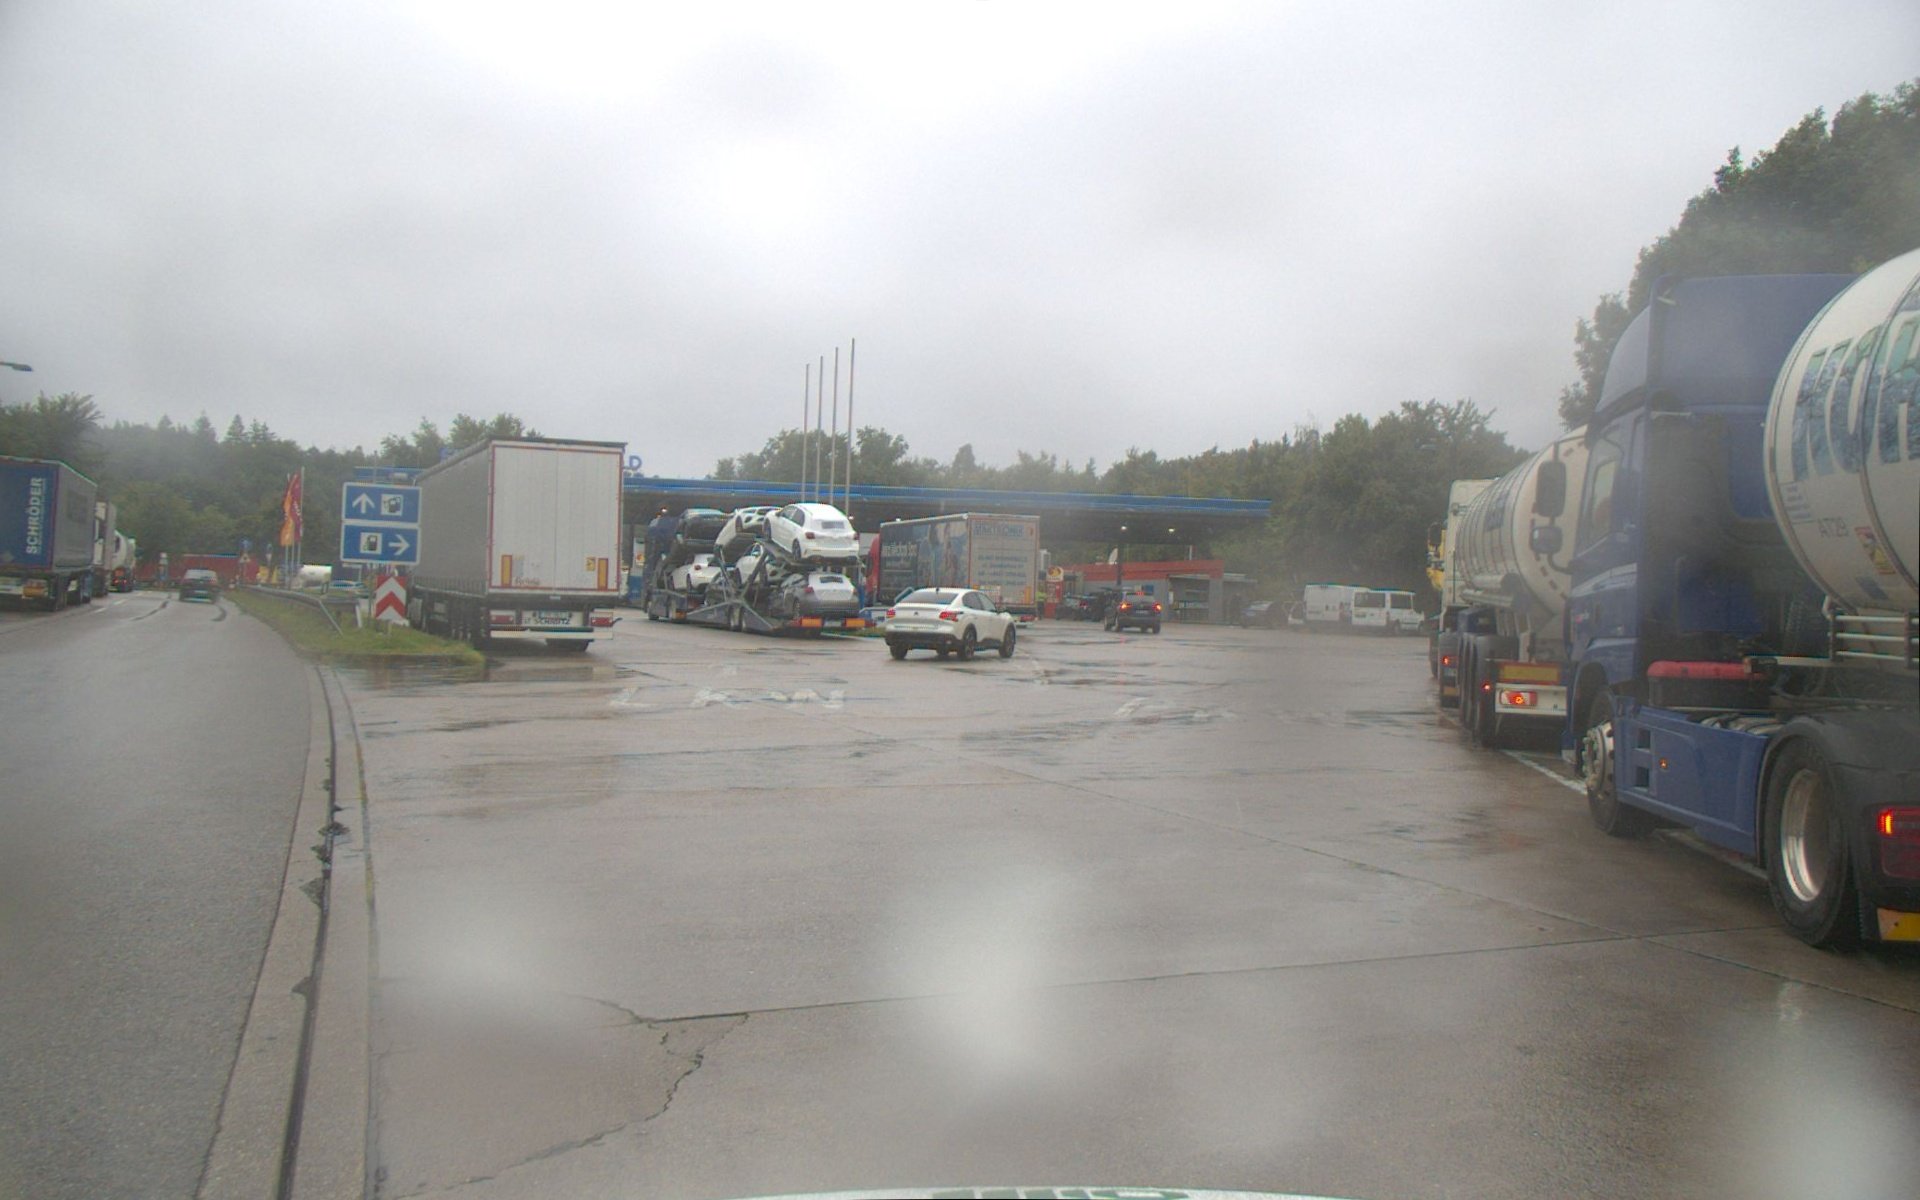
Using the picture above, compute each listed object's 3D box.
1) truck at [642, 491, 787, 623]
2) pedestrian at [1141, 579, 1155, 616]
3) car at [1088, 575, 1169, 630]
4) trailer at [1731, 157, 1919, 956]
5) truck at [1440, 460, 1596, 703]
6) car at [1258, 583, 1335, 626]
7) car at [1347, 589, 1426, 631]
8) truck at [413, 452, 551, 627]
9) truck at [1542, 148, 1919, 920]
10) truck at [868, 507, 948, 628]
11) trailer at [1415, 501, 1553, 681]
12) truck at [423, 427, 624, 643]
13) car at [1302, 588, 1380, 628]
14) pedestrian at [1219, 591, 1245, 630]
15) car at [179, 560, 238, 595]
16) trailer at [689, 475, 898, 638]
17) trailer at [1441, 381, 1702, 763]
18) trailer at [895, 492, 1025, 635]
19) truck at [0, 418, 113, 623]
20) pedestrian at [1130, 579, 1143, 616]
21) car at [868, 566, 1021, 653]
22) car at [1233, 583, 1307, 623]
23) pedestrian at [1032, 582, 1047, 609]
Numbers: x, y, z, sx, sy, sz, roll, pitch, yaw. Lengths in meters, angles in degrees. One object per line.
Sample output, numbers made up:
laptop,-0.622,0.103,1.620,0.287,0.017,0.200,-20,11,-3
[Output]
truck,-8.963,-1.530,59.410,3.188,4.261,8.389,3,0,-22
pedestrian,10.685,-0.144,93.881,0.655,2.049,0.743,3,-3,10
car,6.869,0.135,67.848,1.960,2.049,3.985,5,-3,-14
trailer,4.568,-0.173,3.546,1.938,3.281,10.328,2,0,6
truck,8.938,-0.296,26.857,2.101,3.574,4.649,1,0,16
car,16.371,0.217,80.402,2.078,1.970,4.175,2,0,36
car,19.166,0.451,74.241,2.078,1.758,3.984,2,0,36
truck,-12.019,-1.431,41.183,2.339,3.941,6.960,1,1,-24
truck,5.198,-0.288,10.022,2.009,3.593,4.749,2,0,6
truck,-2.142,-1.256,66.525,1.956,4.629,4.774,2,0,-16
trailer,11.440,-0.187,35.699,2.138,3.451,7.562,1,0,22
truck,-9.912,-1.302,36.331,2.339,3.941,12.363,1,1,-24
car,17.690,0.382,76.641,2.078,1.758,3.984,2,0,36
pedestrian,13.998,0.525,85.075,0.936,1.953,1.087,2,0,29
car,-34.384,-1.007,75.769,1.849,1.487,3.981,3,0,-17
trailer,-5.338,-1.289,50.156,3.170,4.262,11.455,3,0,-22
trailer,7.134,-0.279,20.405,2.086,3.500,10.260,1,0,16
trailer,-0.178,-1.221,59.507,1.961,4.639,9.767,2,0,-16
truck,-28.141,-2.234,48.676,4.726,5.398,10.992,2,0,-23
pedestrian,10.147,-0.153,95.104,0.574,2.049,0.637,4,-3,1
car,-0.269,0.229,35.865,1.953,1.708,4.000,3,0,20
car,15.859,0.155,84.497,2.078,1.970,4.175,2,0,36
pedestrian,4.722,-0.253,97.650,0.703,1.548,0.743,3,-3,10
